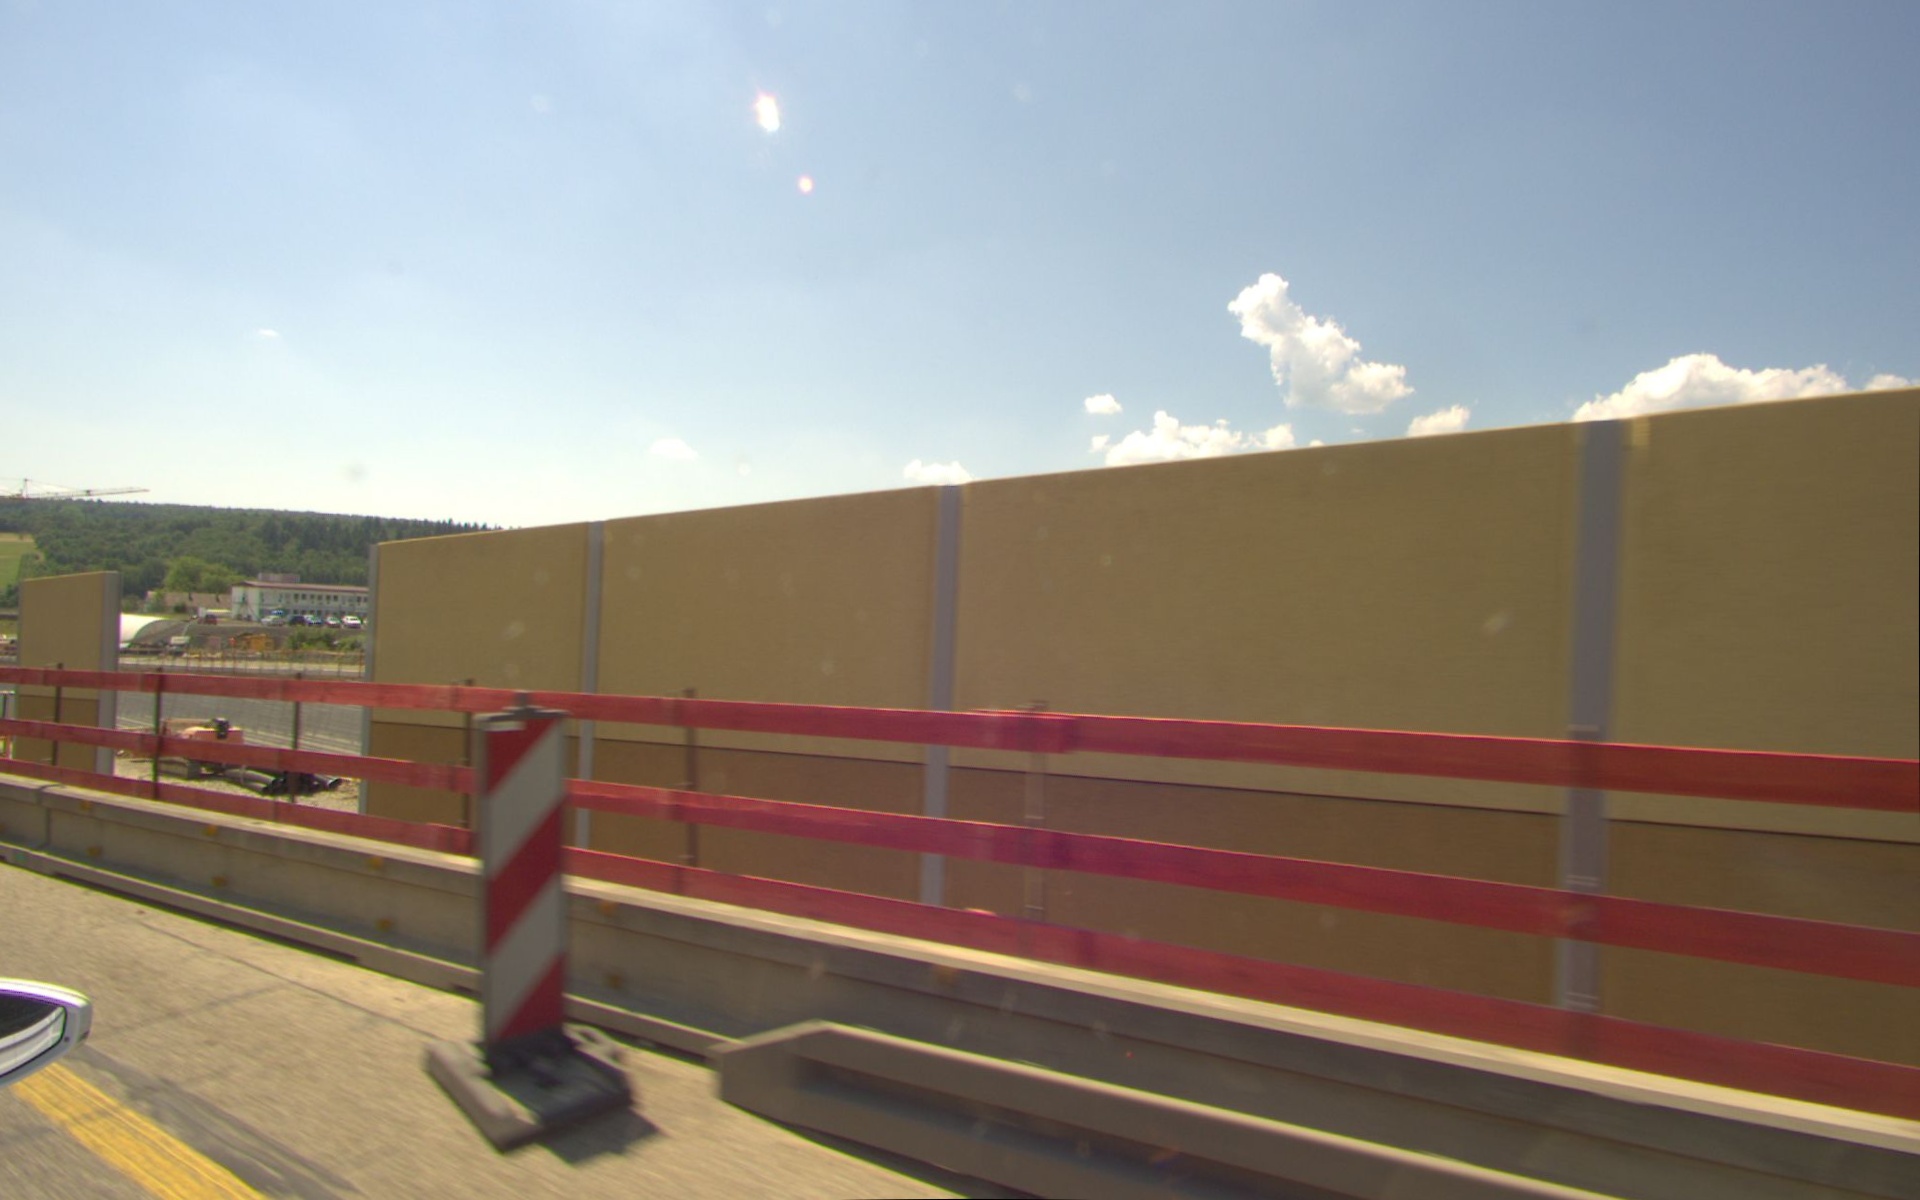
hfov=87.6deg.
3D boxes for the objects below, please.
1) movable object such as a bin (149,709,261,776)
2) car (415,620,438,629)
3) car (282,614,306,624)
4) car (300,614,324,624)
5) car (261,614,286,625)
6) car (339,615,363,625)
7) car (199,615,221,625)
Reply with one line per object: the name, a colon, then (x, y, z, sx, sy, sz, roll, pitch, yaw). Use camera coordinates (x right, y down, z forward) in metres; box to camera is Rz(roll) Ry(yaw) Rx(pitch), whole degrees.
movable object such as a bin: (-33.923, 6.332, 44.992, 4.390, 2.520, 2.605, -1, -3, 32)
car: (-87.558, 4.033, 164.217, 4.019, 1.537, 1.677, -1, -2, 34)
car: (-101.113, 2.912, 151.967, 4.019, 1.537, 1.677, -1, -2, 34)
car: (-99.672, 2.972, 154.072, 4.019, 1.537, 1.677, -1, -2, 34)
car: (-102.798, 2.961, 149.950, 4.019, 1.537, 1.677, -1, -2, 34)
car: (-96.022, 3.180, 157.828, 4.019, 1.537, 1.710, -1, -2, 34)
car: (-107.925, 2.883, 144.121, 3.383, 1.332, 1.511, -1, -2, 34)
